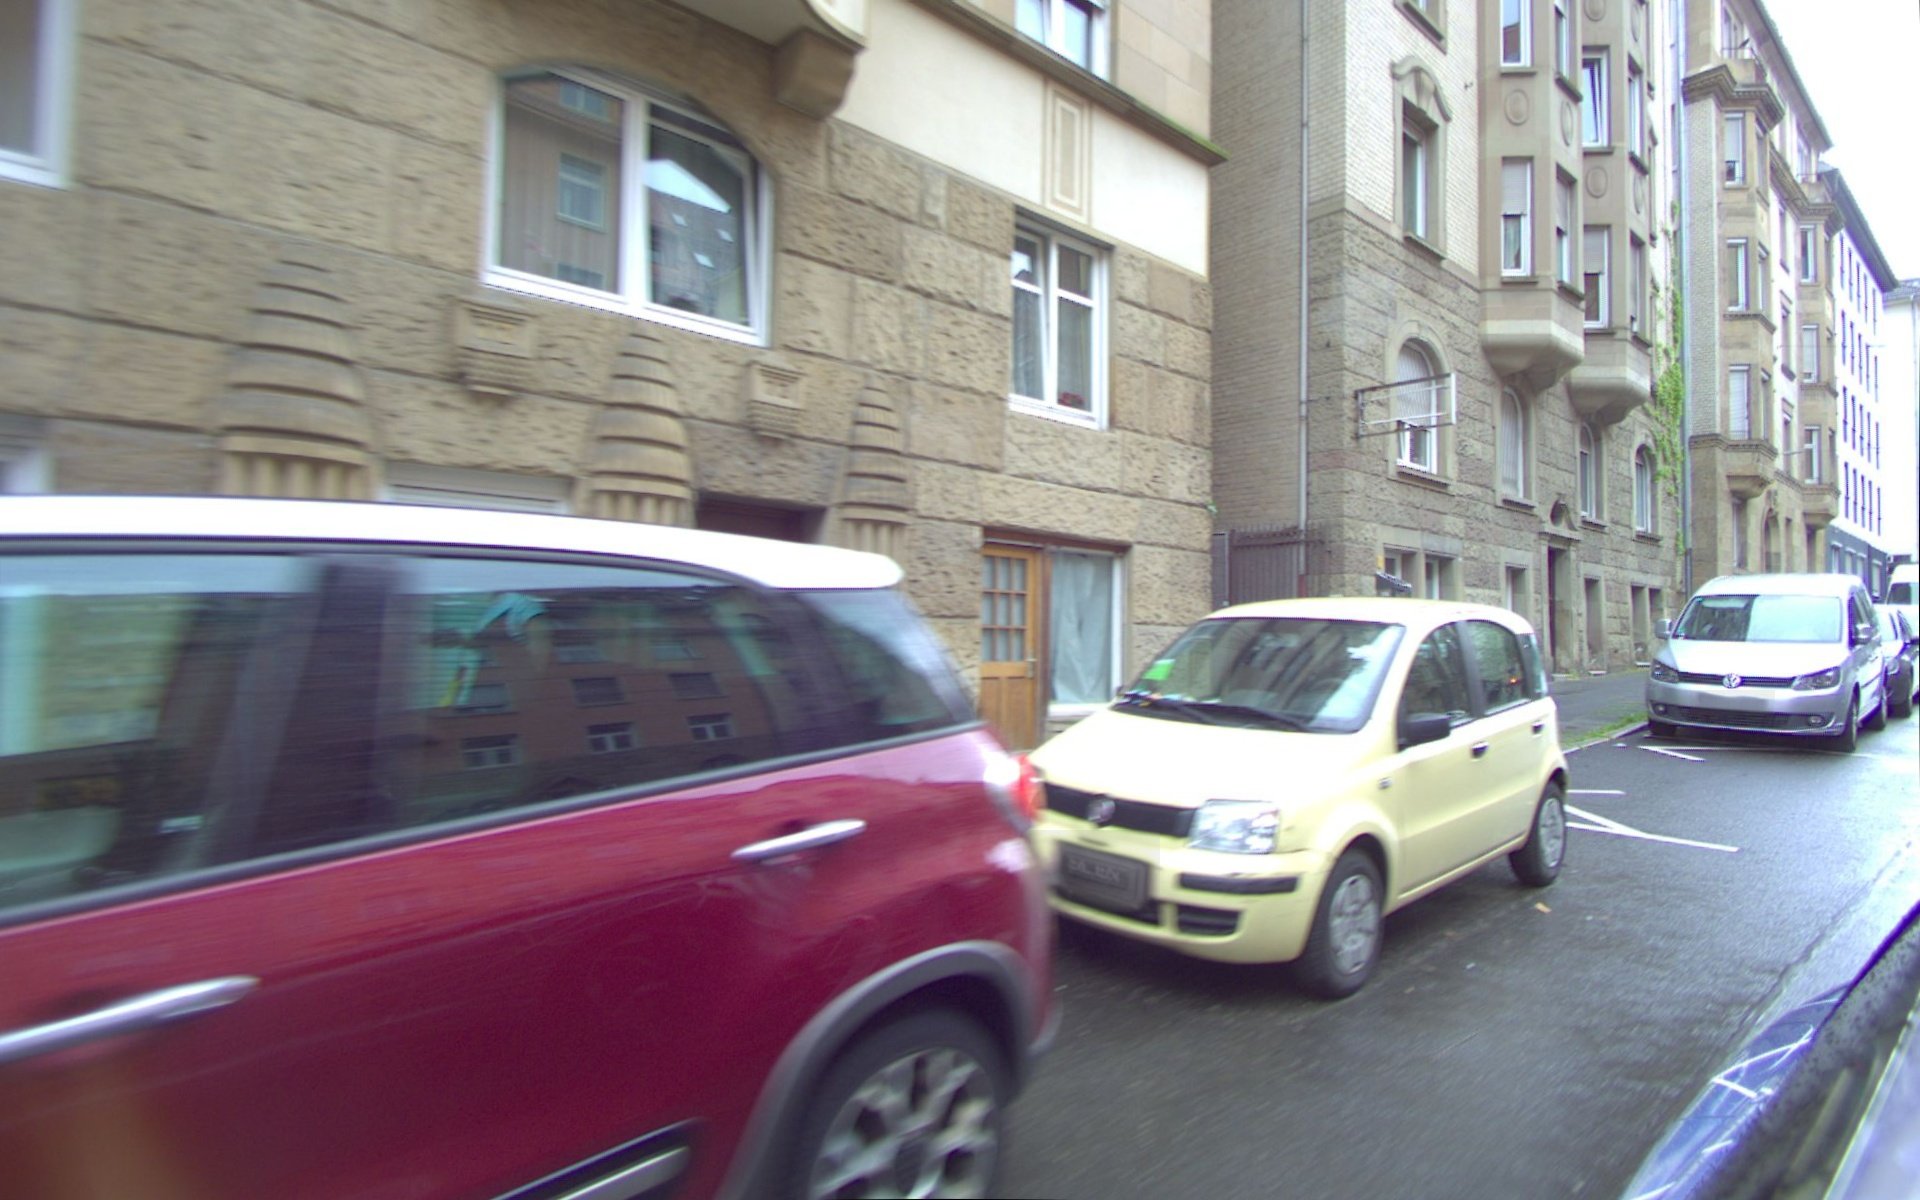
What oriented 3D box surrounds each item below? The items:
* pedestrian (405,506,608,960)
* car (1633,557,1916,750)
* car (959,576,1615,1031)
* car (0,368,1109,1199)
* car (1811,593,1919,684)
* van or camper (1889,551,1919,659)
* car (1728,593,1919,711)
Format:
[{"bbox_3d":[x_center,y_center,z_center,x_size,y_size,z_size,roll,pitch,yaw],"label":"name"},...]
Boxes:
[{"bbox_3d":[-2.009,0.516,4.447,0.598,1.755,0.863,0,-2,-40],"label":"pedestrian"},{"bbox_3d":[9.360,0.497,11.503,4.284,1.799,1.777,0,0,-41],"label":"car"},{"bbox_3d":[1.796,0.685,5.060,3.400,1.497,1.561,0,-2,-41],"label":"car"},{"bbox_3d":[-1.653,0.578,1.770,3.933,1.649,1.712,0,-1,-43],"label":"car"},{"bbox_3d":[16.206,0.615,17.537,3.931,1.429,1.678,0,-2,-42],"label":"car"},{"bbox_3d":[24.767,0.080,24.932,6.012,2.500,2.068,-1,0,-41],"label":"van or camper"},{"bbox_3d":[12.868,0.648,14.728,3.932,1.459,1.996,-1,0,-42],"label":"car"}]
